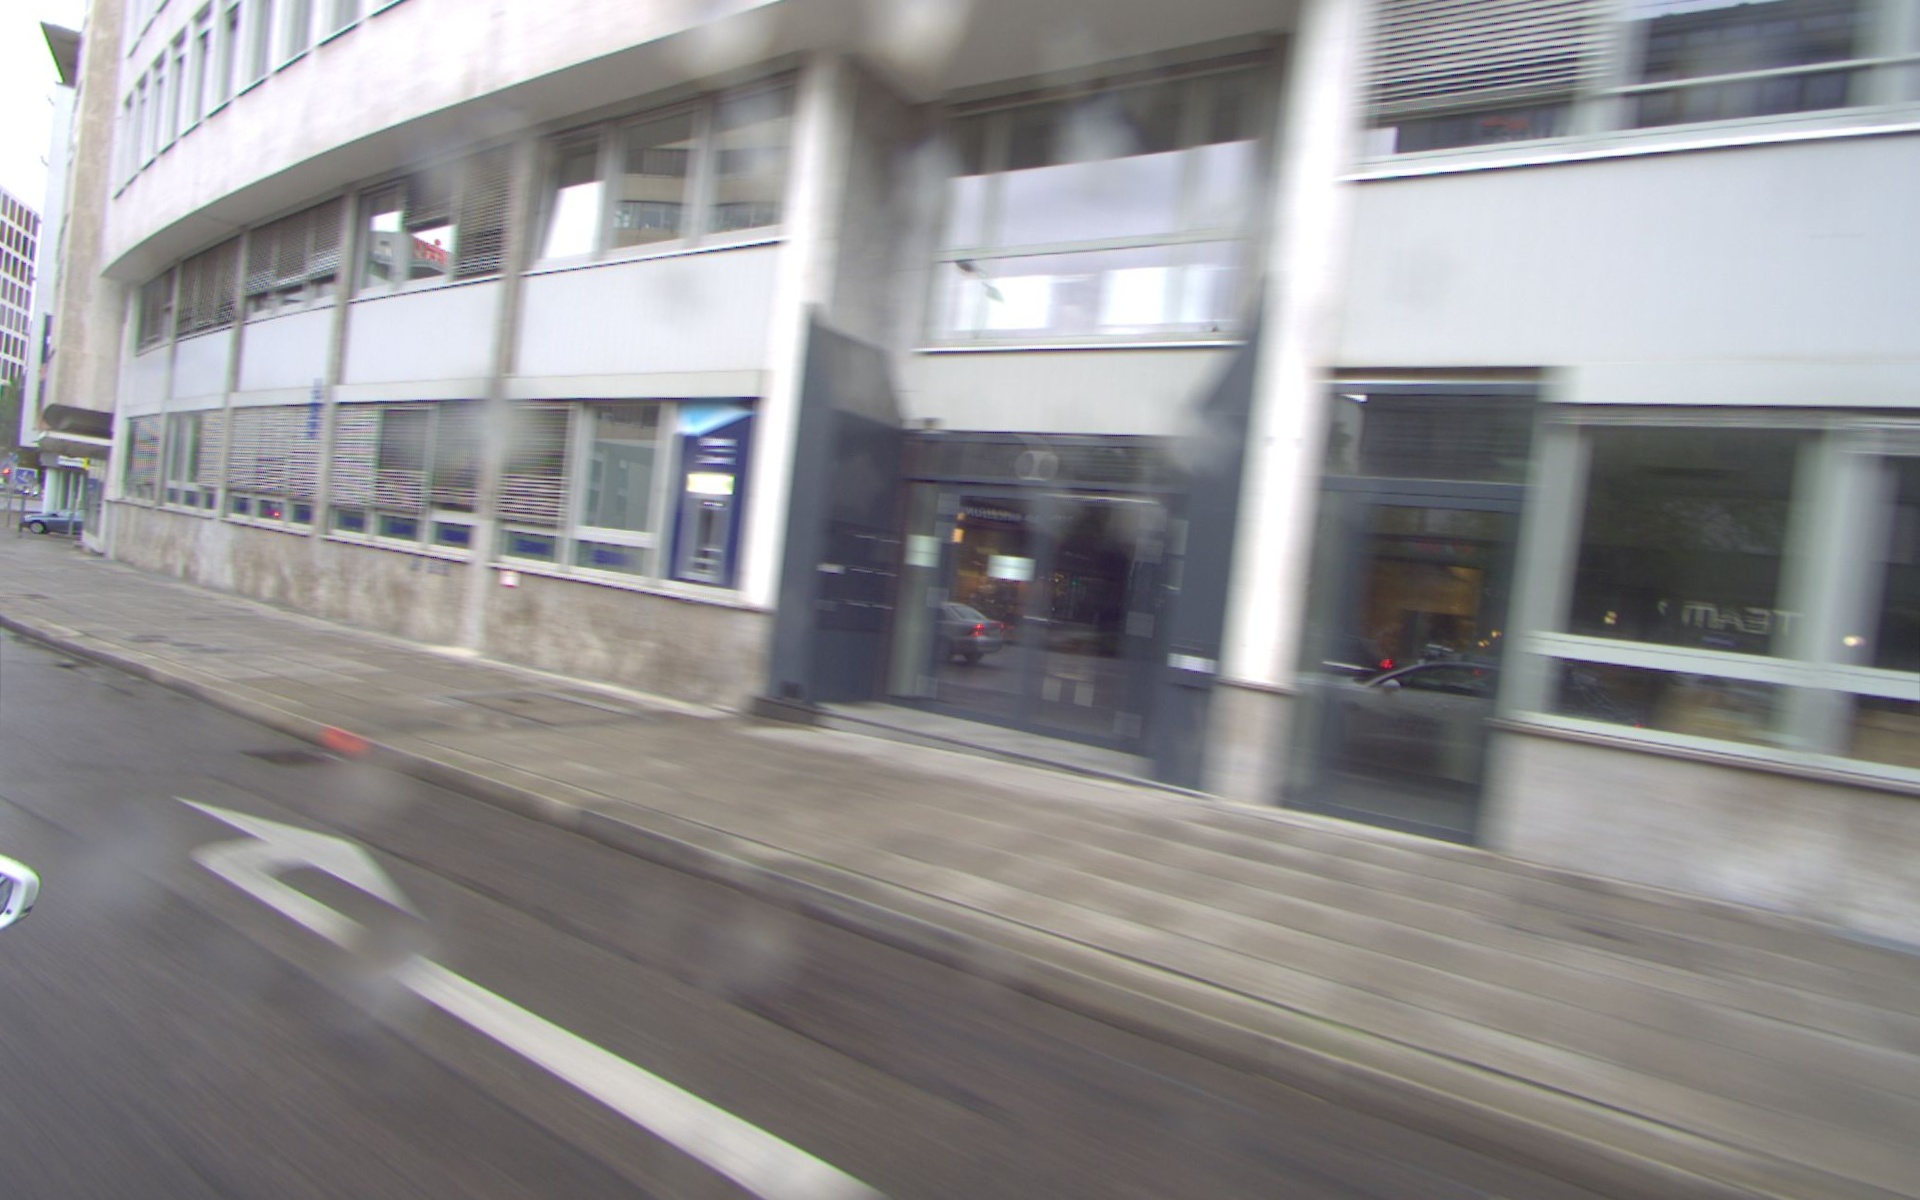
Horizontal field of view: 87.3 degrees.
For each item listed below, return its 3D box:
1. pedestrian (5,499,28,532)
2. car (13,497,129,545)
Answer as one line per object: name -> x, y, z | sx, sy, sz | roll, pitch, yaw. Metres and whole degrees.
pedestrian -> -51.969, -4.653, 55.412 | 0.724, 1.688, 0.683 | 6, -1, -40
car -> -47.691, -4.184, 54.092 | 4.319, 1.786, 2.034 | 9, -2, -36
